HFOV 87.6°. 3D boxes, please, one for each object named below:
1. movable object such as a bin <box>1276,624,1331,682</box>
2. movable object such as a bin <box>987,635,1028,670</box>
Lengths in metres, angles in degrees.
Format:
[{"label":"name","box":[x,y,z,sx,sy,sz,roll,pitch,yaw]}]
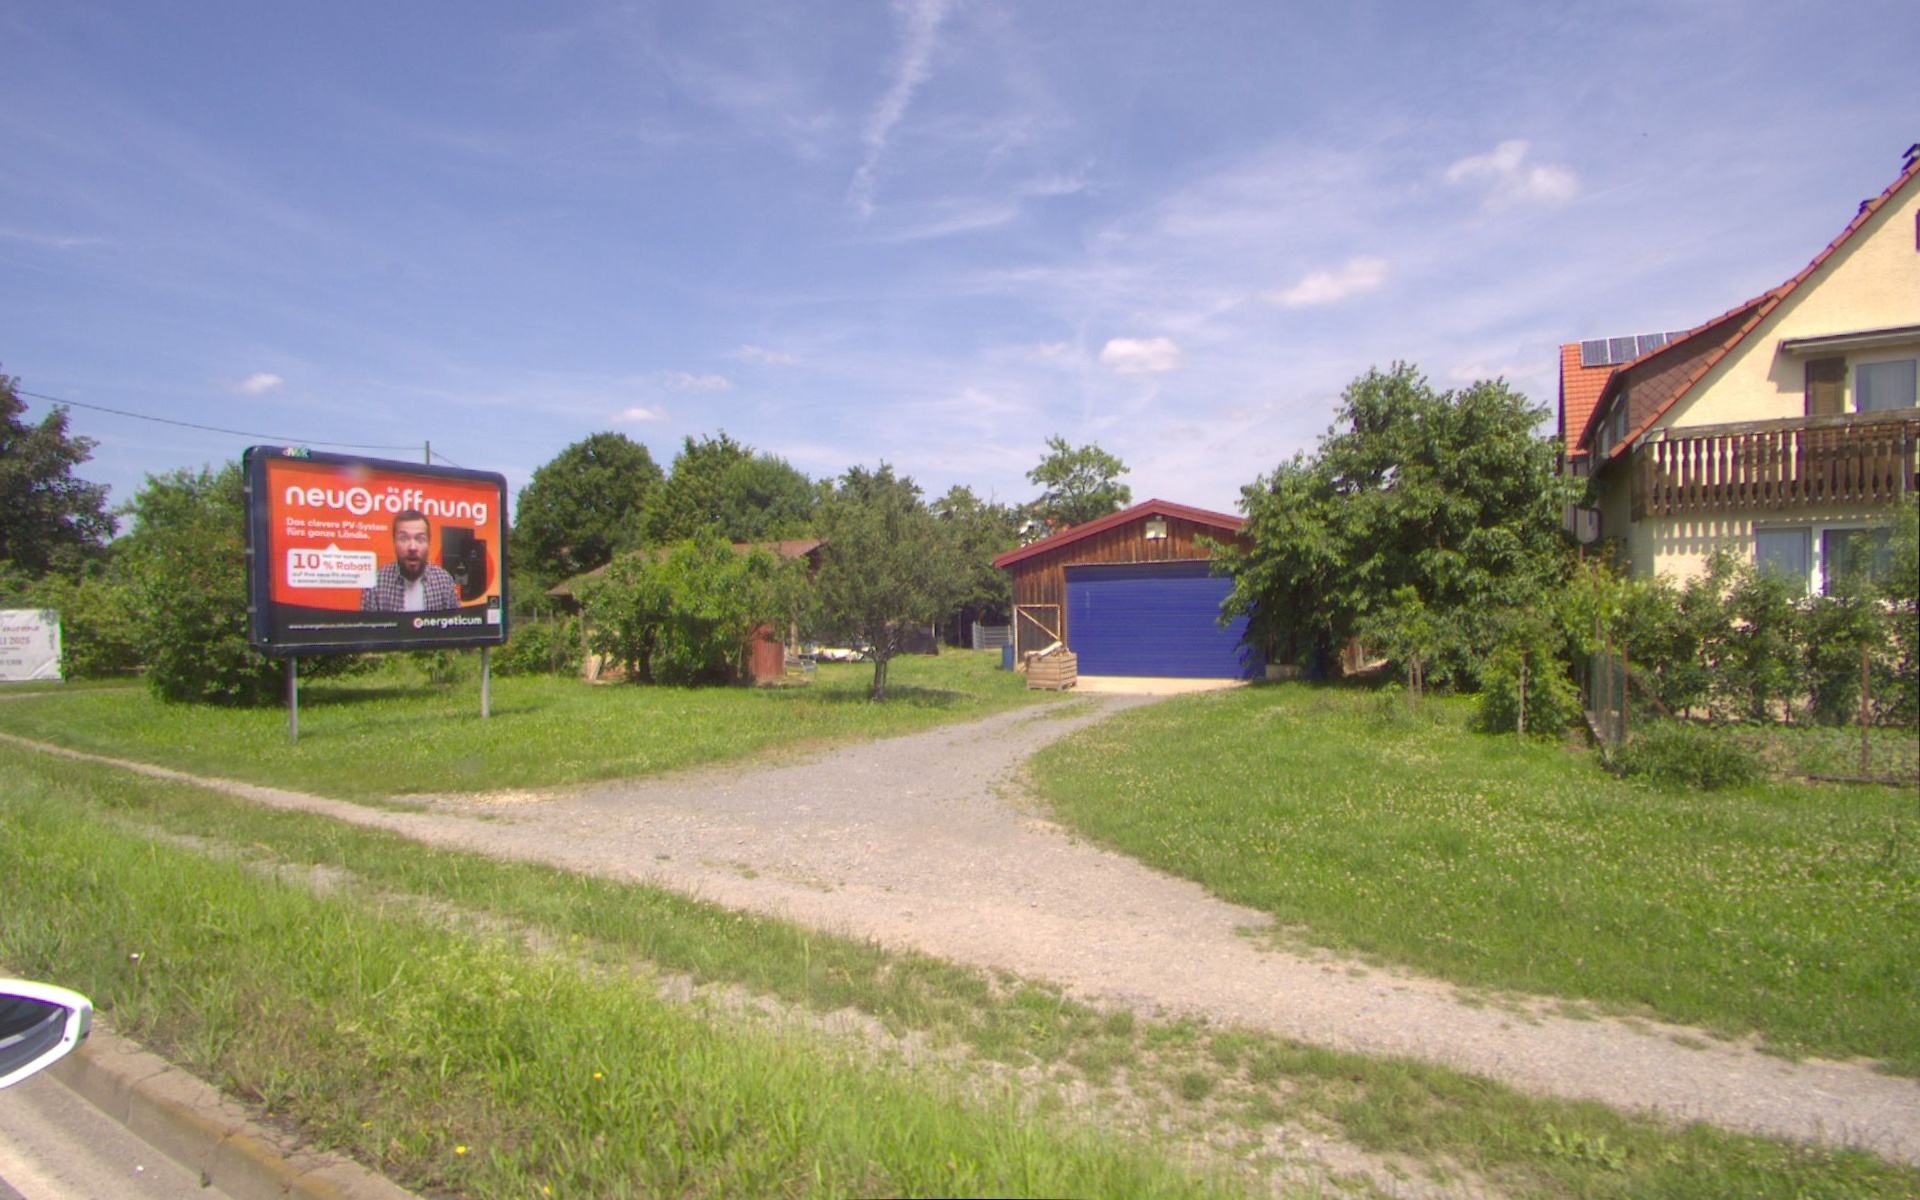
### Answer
[{"label":"movable object such as a bin","box":[8.691,1.323,25.333,1.049,1.415,1.271,0,-1,33]},{"label":"movable object such as a bin","box":[1.498,1.639,31.301,1.044,1.046,1.040,0,-1,17]}]
